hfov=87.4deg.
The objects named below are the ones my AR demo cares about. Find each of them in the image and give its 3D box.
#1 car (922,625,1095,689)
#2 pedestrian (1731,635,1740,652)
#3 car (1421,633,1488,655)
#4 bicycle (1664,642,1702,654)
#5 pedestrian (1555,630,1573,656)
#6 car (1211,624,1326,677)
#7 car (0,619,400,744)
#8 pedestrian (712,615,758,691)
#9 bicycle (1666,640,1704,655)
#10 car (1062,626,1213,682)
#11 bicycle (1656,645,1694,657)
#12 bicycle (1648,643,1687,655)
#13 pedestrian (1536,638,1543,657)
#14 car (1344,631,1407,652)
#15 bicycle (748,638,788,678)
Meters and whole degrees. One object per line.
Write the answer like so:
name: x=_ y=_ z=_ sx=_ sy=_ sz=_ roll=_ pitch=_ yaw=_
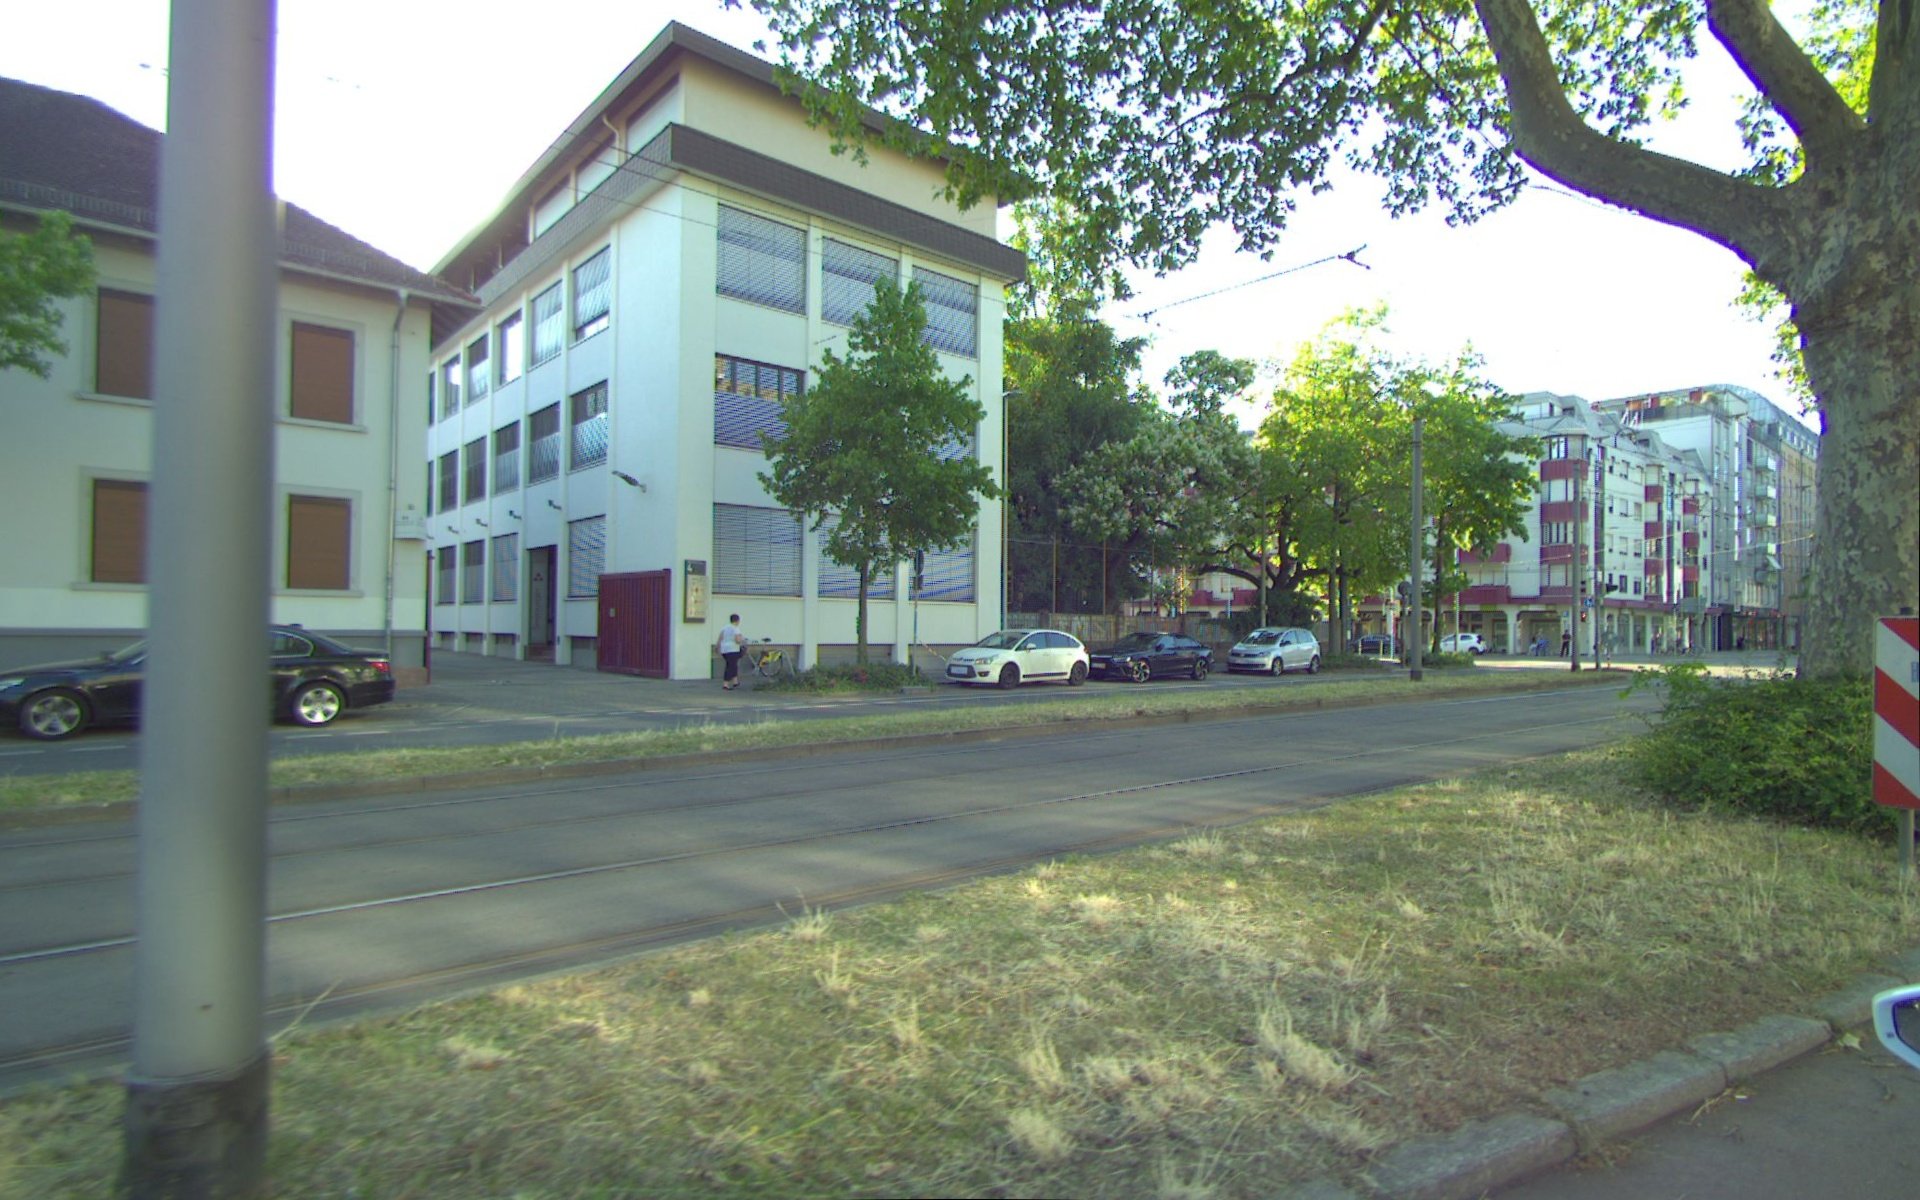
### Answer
car: x=1.322 y=1.416 z=25.868 sx=4.373 sy=1.490 sz=1.975 roll=2 pitch=-2 yaw=-43
pedestrian: x=70.799 y=3.974 z=91.710 sx=0.523 sy=1.478 sz=0.506 roll=1 pitch=-2 yaw=-38
car: x=34.420 y=3.026 z=69.937 sx=3.939 sy=1.483 sz=1.794 roll=-2 pitch=-3 yaw=39
bicycle: x=51.002 y=3.398 z=70.883 sx=0.524 sy=0.835 sz=2.149 roll=2 pitch=-2 yaw=-42
pedestrian: x=38.988 y=2.783 z=64.837 sx=1.027 sy=1.684 sz=0.701 roll=2 pitch=-2 yaw=-45
car: x=10.575 y=1.680 z=34.329 sx=4.147 sy=1.711 sz=1.975 roll=2 pitch=-2 yaw=-42
car: x=-10.934 y=1.067 z=14.492 sx=4.689 sy=1.533 sz=1.976 roll=2 pitch=-2 yaw=-42
pedestrian: x=-4.965 y=1.154 z=22.185 sx=0.628 sy=1.642 sz=0.727 roll=1 pitch=-1 yaw=43
bicycle: x=51.458 y=3.366 z=71.334 sx=0.488 sy=0.963 sz=2.149 roll=2 pitch=-2 yaw=-42
car: x=5.246 y=1.520 z=29.272 sx=4.616 sy=1.495 sz=1.975 roll=2 pitch=-2 yaw=-43
bicycle: x=49.892 y=3.525 z=70.110 sx=0.488 sy=0.797 sz=2.149 roll=2 pitch=-2 yaw=-42
bicycle: x=49.160 y=3.382 z=69.818 sx=0.636 sy=0.797 sz=2.149 roll=2 pitch=-2 yaw=-42
pedestrian: x=38.838 y=3.192 z=67.321 sx=0.316 sy=1.230 sz=0.300 roll=2 pitch=-2 yaw=-45
car: x=30.305 y=3.012 z=73.319 sx=3.938 sy=1.483 sz=1.794 roll=-2 pitch=-3 yaw=39
bicycle: x=-4.944 y=1.484 z=25.886 sx=1.011 sy=1.015 sz=0.300 roll=2 pitch=-2 yaw=-42
